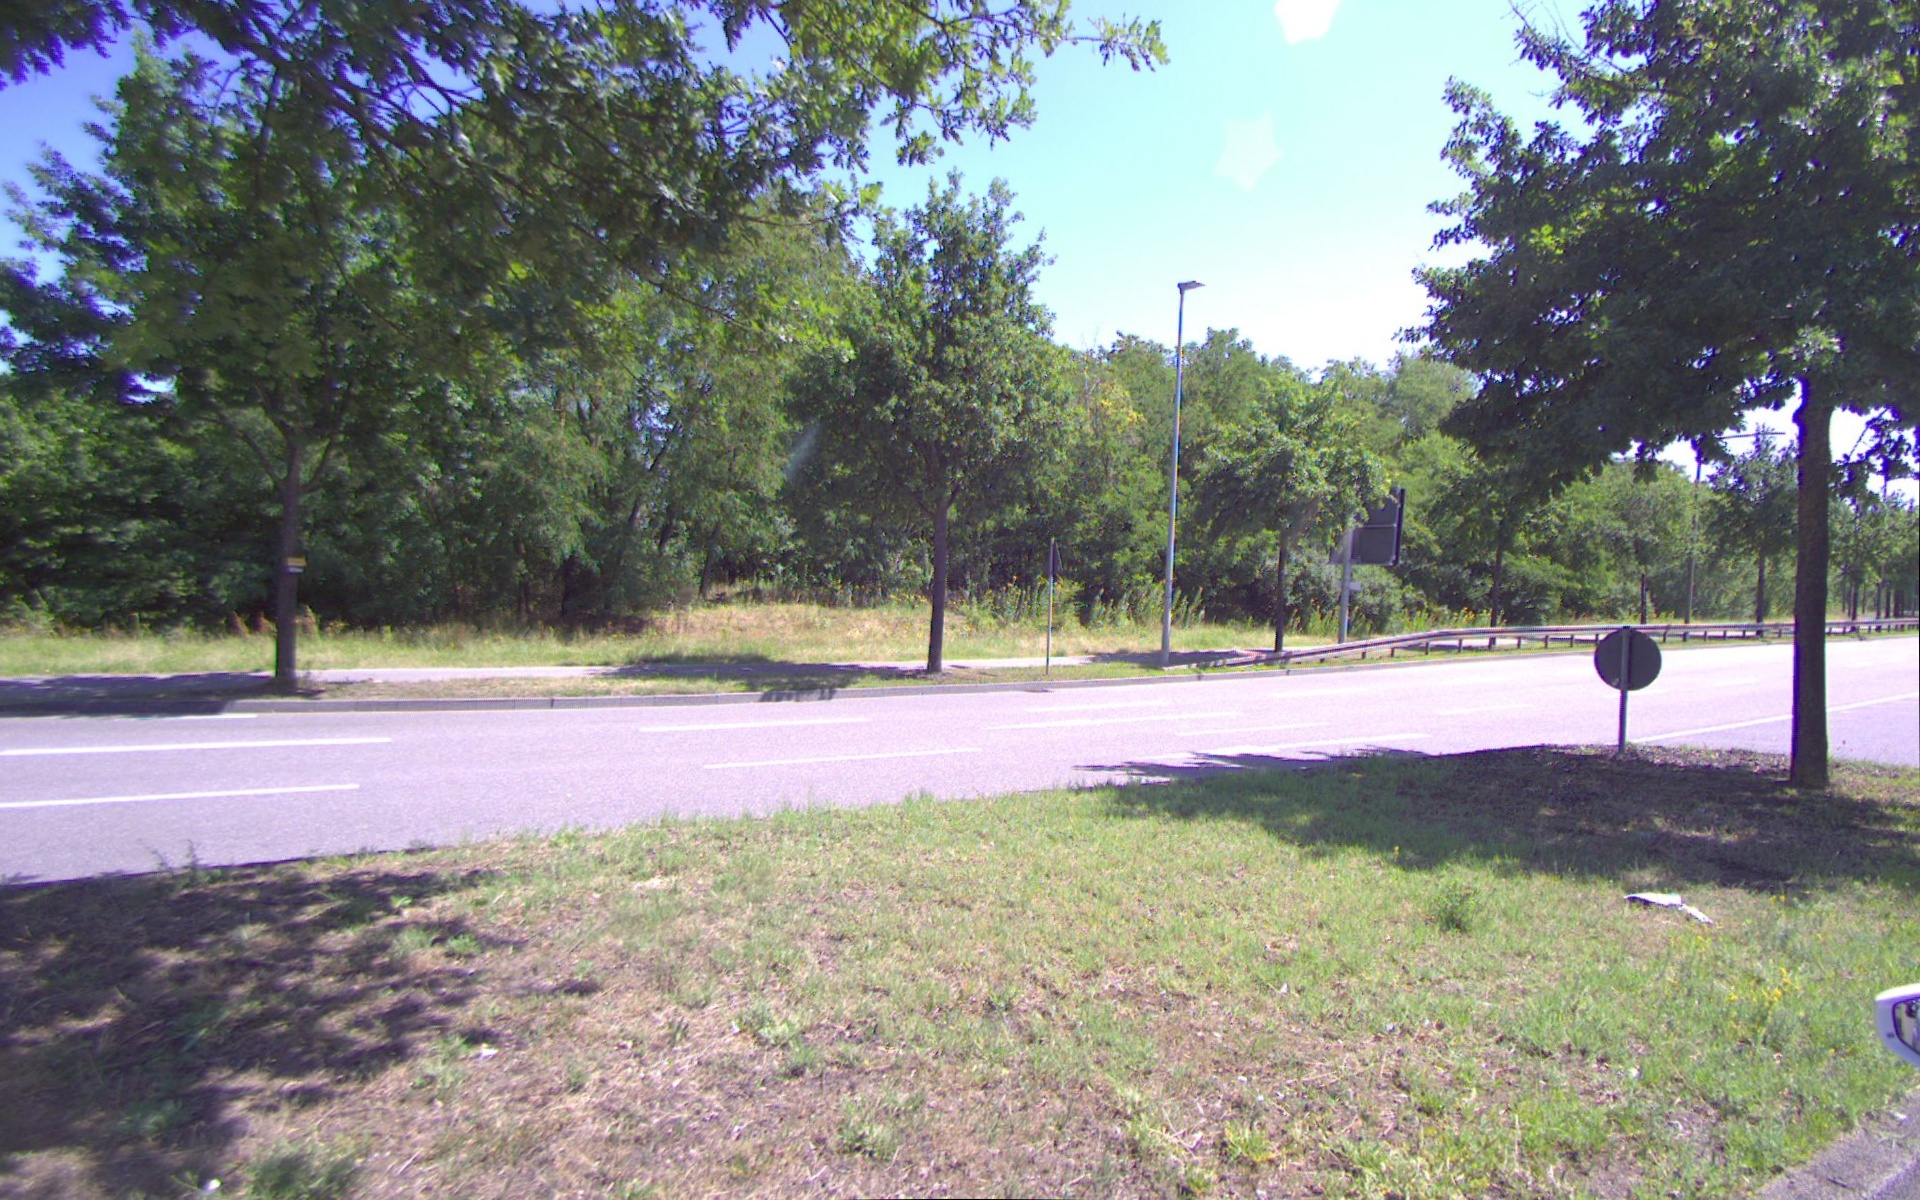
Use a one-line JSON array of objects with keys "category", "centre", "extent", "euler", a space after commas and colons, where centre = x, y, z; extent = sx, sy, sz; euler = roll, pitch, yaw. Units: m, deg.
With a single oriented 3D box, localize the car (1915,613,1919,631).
[{"category": "car", "centre": [98.220, 2.210, 101.946], "extent": [3.728, 1.694, 1.662], "euler": [-1, 2, -44]}]
